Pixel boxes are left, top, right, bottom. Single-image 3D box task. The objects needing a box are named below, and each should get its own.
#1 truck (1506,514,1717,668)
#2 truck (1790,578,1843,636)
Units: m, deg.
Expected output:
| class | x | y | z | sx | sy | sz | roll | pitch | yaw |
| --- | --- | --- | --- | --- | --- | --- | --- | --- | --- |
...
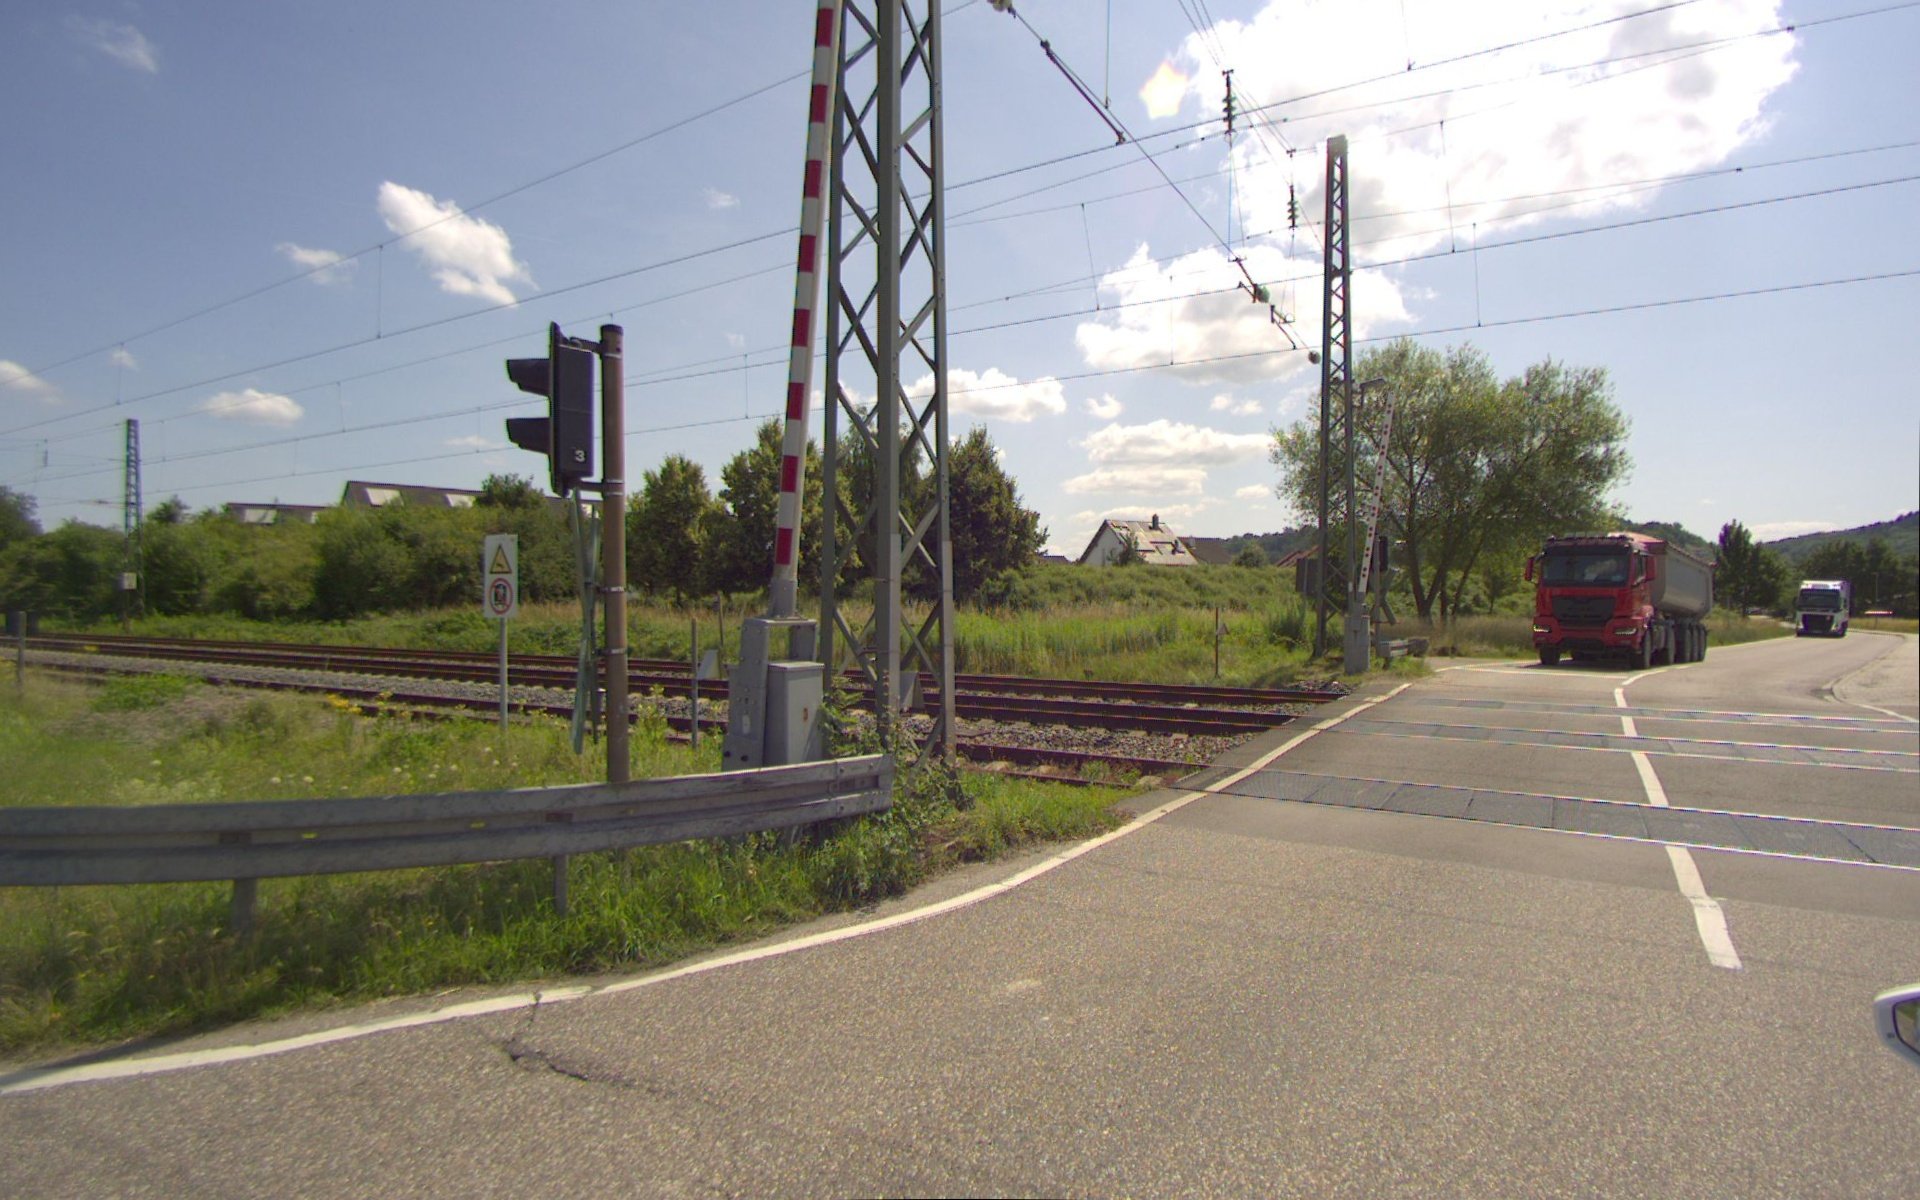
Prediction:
| class | x | y | z | sx | sy | sz | roll | pitch | yaw |
| --- | --- | --- | --- | --- | --- | --- | --- | --- | --- |
| truck | 19.845 | -0.162 | 30.067 | 2.843 | 3.795 | 12.070 | 1 | 0 | 45 |
| truck | 62.395 | 0.513 | 73.116 | 2.545 | 4.001 | 6.000 | 0 | 0 | 45 |
